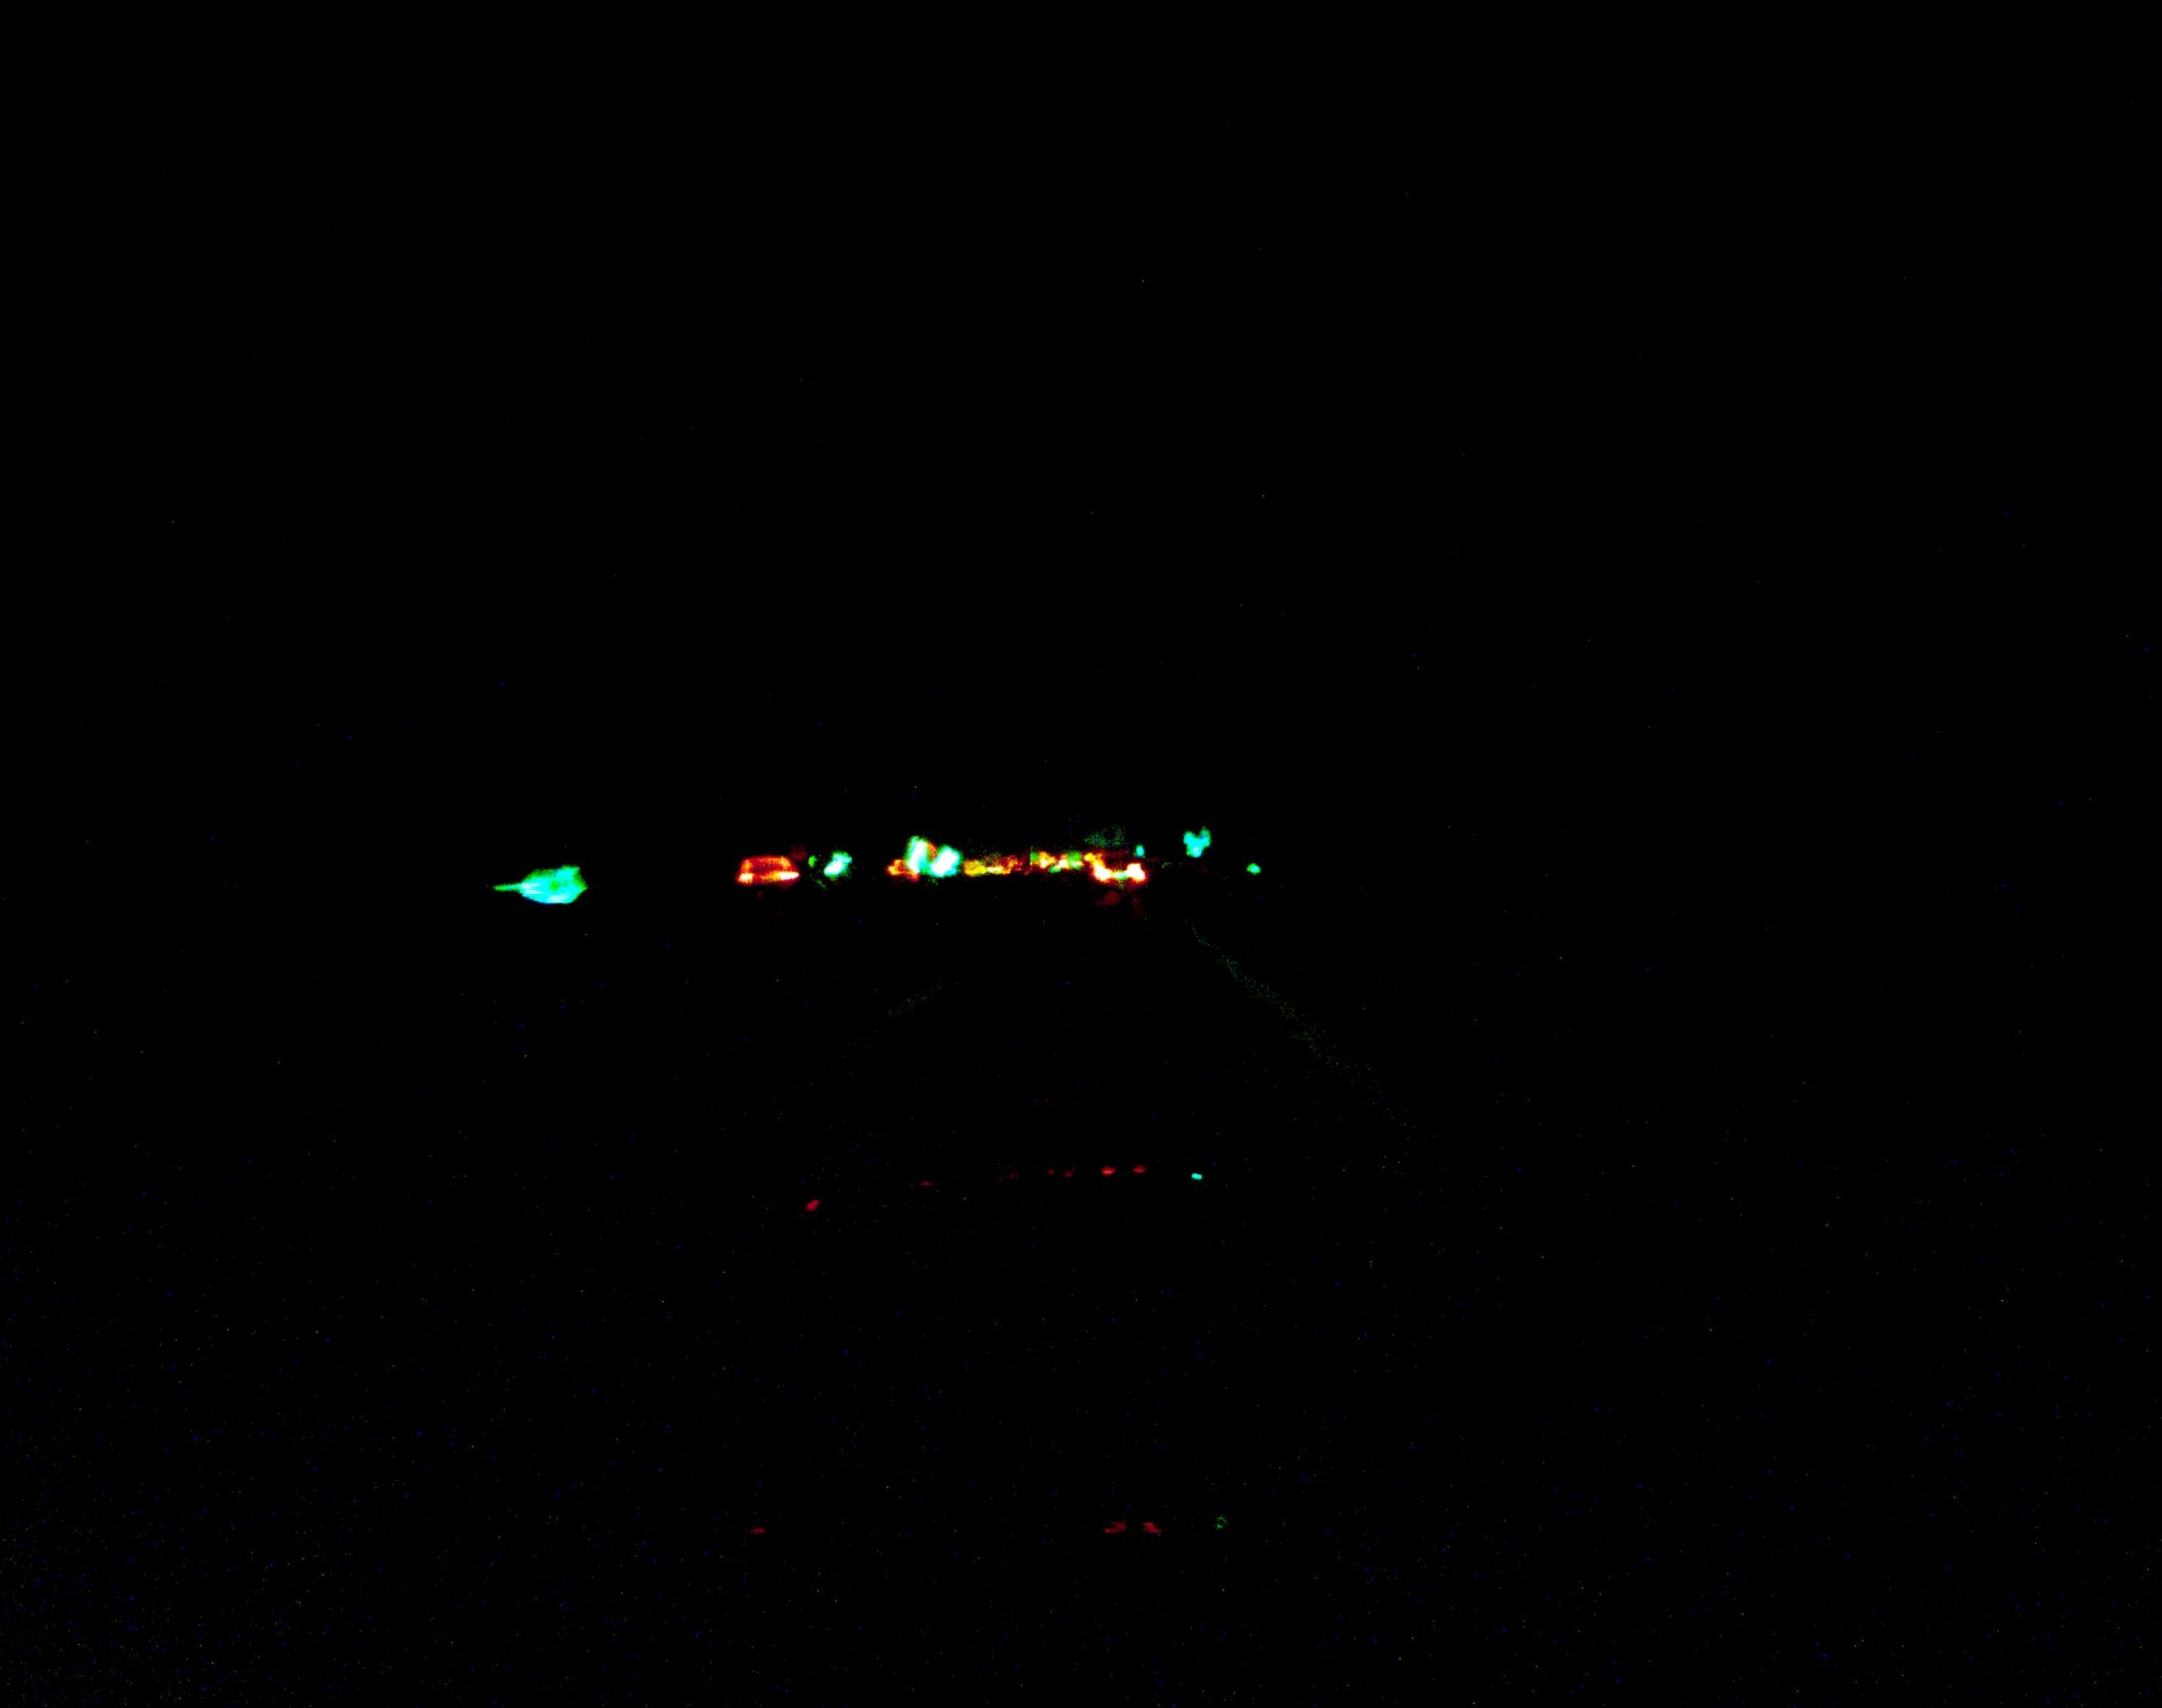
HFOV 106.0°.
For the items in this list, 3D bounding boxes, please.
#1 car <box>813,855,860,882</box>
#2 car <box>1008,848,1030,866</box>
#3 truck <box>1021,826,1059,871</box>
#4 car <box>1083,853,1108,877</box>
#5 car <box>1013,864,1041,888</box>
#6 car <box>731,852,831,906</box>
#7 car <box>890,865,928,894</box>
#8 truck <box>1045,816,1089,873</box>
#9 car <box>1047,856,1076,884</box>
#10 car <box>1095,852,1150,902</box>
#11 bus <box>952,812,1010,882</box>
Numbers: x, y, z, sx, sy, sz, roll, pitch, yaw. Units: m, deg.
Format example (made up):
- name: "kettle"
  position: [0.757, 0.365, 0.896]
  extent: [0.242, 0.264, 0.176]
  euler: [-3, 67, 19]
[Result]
- name: "car"
  position: [-17.898, 1.051, 59.921]
  extent: [1.873, 1.843, 5.060]
  euler: [0, -1, 0]
- name: "car"
  position: [-6.159, 0.331, 81.784]
  extent: [1.988, 1.807, 3.997]
  euler: [0, -1, -2]
- name: "truck"
  position: [-5.358, -0.620, 108.382]
  extent: [4.195, 5.648, 11.468]
  euler: [0, -1, 1]
- name: "car"
  position: [1.277, 0.961, 72.498]
  extent: [2.119, 2.014, 4.643]
  euler: [0, -1, -1]
- name: "car"
  position: [-4.155, 1.673, 63.545]
  extent: [1.988, 1.807, 3.997]
  euler: [0, -1, -2]
- name: "car"
  position: [-9.466, 0.754, 26.035]
  extent: [1.990, 1.596, 3.993]
  euler: [0, -1, -5]
- name: "car"
  position: [-10.563, 1.535, 50.276]
  extent: [1.690, 1.650, 3.836]
  euler: [0, -1, -3]
- name: "truck"
  position: [-1.360, -0.868, 85.699]
  extent: [4.195, 5.648, 11.468]
  euler: [0, -1, 1]
- name: "car"
  position: [-1.415, 1.213, 61.262]
  extent: [2.119, 2.014, 4.643]
  euler: [0, -1, -1]
- name: "car"
  position: [1.573, 0.863, 31.860]
  extent: [1.986, 1.807, 4.001]
  euler: [0, -1, 1]
- name: "bus"
  position: [-6.928, -0.389, 58.112]
  extent: [3.089, 4.508, 10.904]
  euler: [0, -1, -2]
